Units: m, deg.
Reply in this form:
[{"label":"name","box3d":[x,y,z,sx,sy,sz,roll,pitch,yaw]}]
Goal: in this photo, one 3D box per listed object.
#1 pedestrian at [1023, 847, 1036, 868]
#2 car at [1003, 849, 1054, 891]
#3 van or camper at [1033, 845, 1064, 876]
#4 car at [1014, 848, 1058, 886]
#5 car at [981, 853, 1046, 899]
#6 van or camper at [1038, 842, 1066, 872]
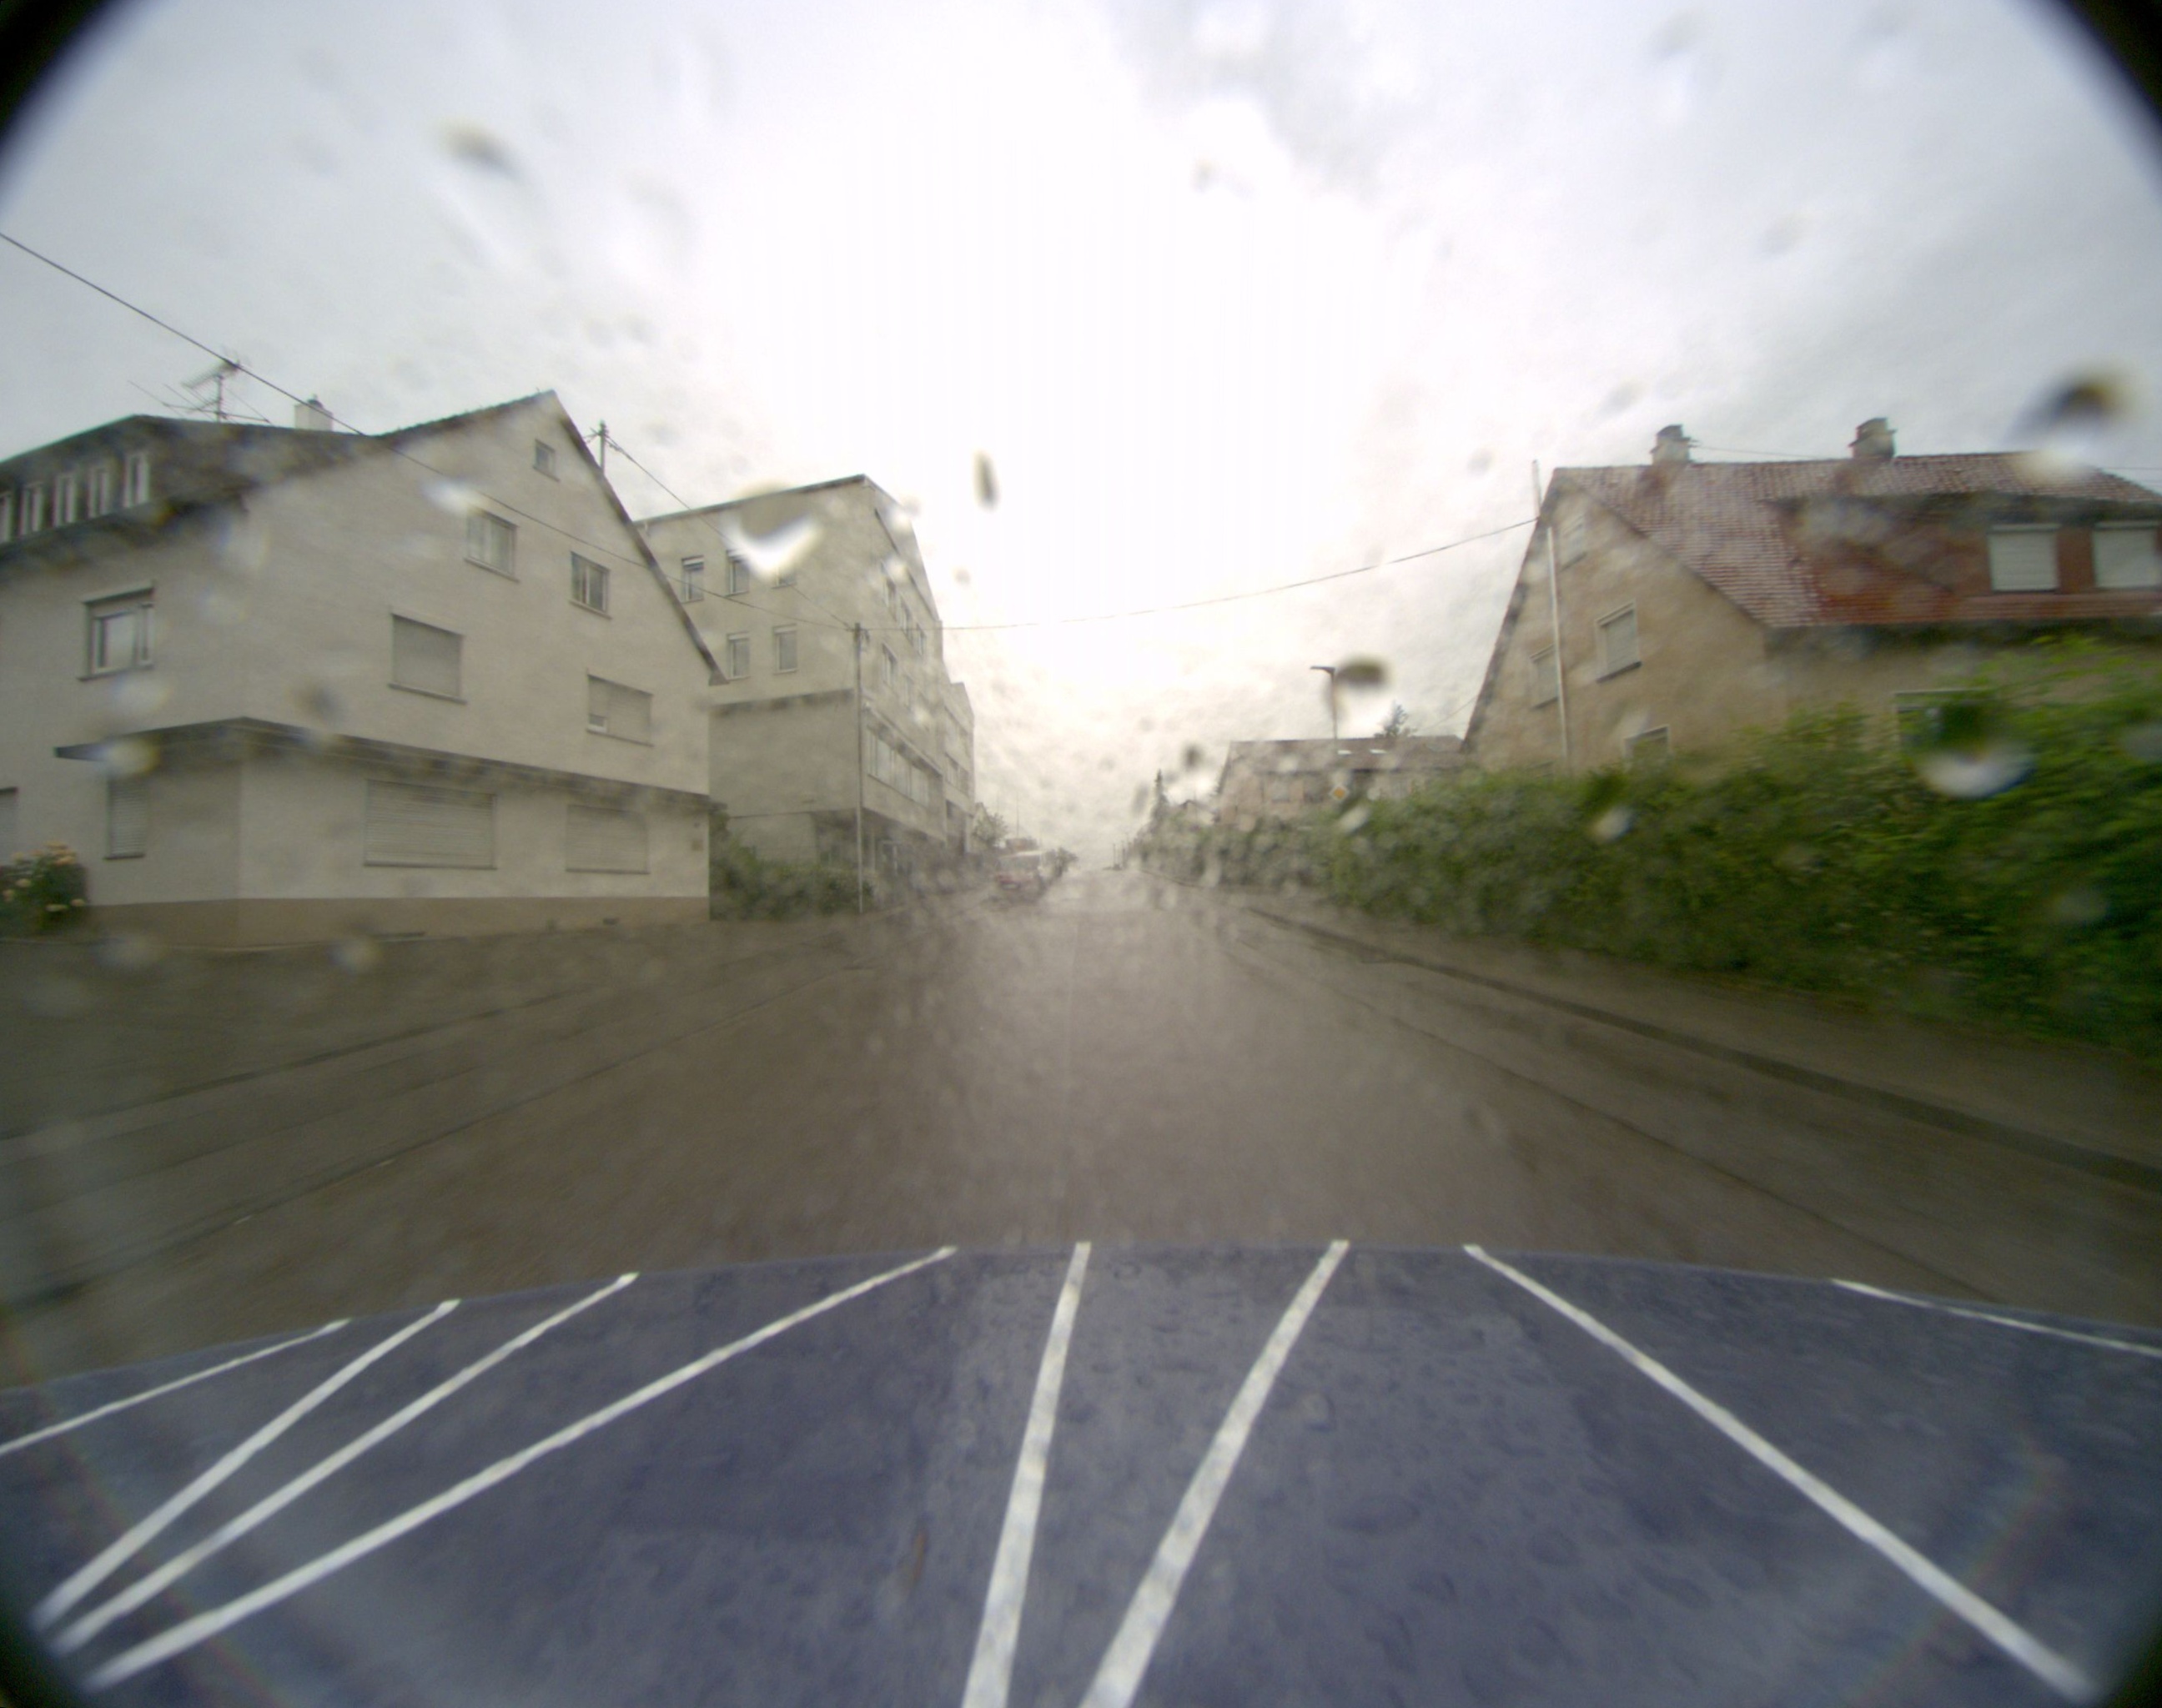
[{"label":"pedestrian","box3d":[-4.370,0.333,64.746,1.026,1.748,1.031,-1,-1,-2]},{"label":"car","box3d":[-2.378,0.693,35.496,1.883,1.823,4.489,-2,0,1]},{"label":"van or camper","box3d":[-2.295,0.447,54.979,1.998,2.101,5.202,-1,0,0]},{"label":"car","box3d":[-2.417,0.658,42.112,1.998,1.924,4.976,-2,0,1]},{"label":"car","box3d":[-2.590,0.798,30.271,1.998,1.635,4.958,-2,0,1]},{"label":"van or camper","box3d":[-2.284,0.235,61.151,1.998,2.229,5.441,-1,0,0]}]
